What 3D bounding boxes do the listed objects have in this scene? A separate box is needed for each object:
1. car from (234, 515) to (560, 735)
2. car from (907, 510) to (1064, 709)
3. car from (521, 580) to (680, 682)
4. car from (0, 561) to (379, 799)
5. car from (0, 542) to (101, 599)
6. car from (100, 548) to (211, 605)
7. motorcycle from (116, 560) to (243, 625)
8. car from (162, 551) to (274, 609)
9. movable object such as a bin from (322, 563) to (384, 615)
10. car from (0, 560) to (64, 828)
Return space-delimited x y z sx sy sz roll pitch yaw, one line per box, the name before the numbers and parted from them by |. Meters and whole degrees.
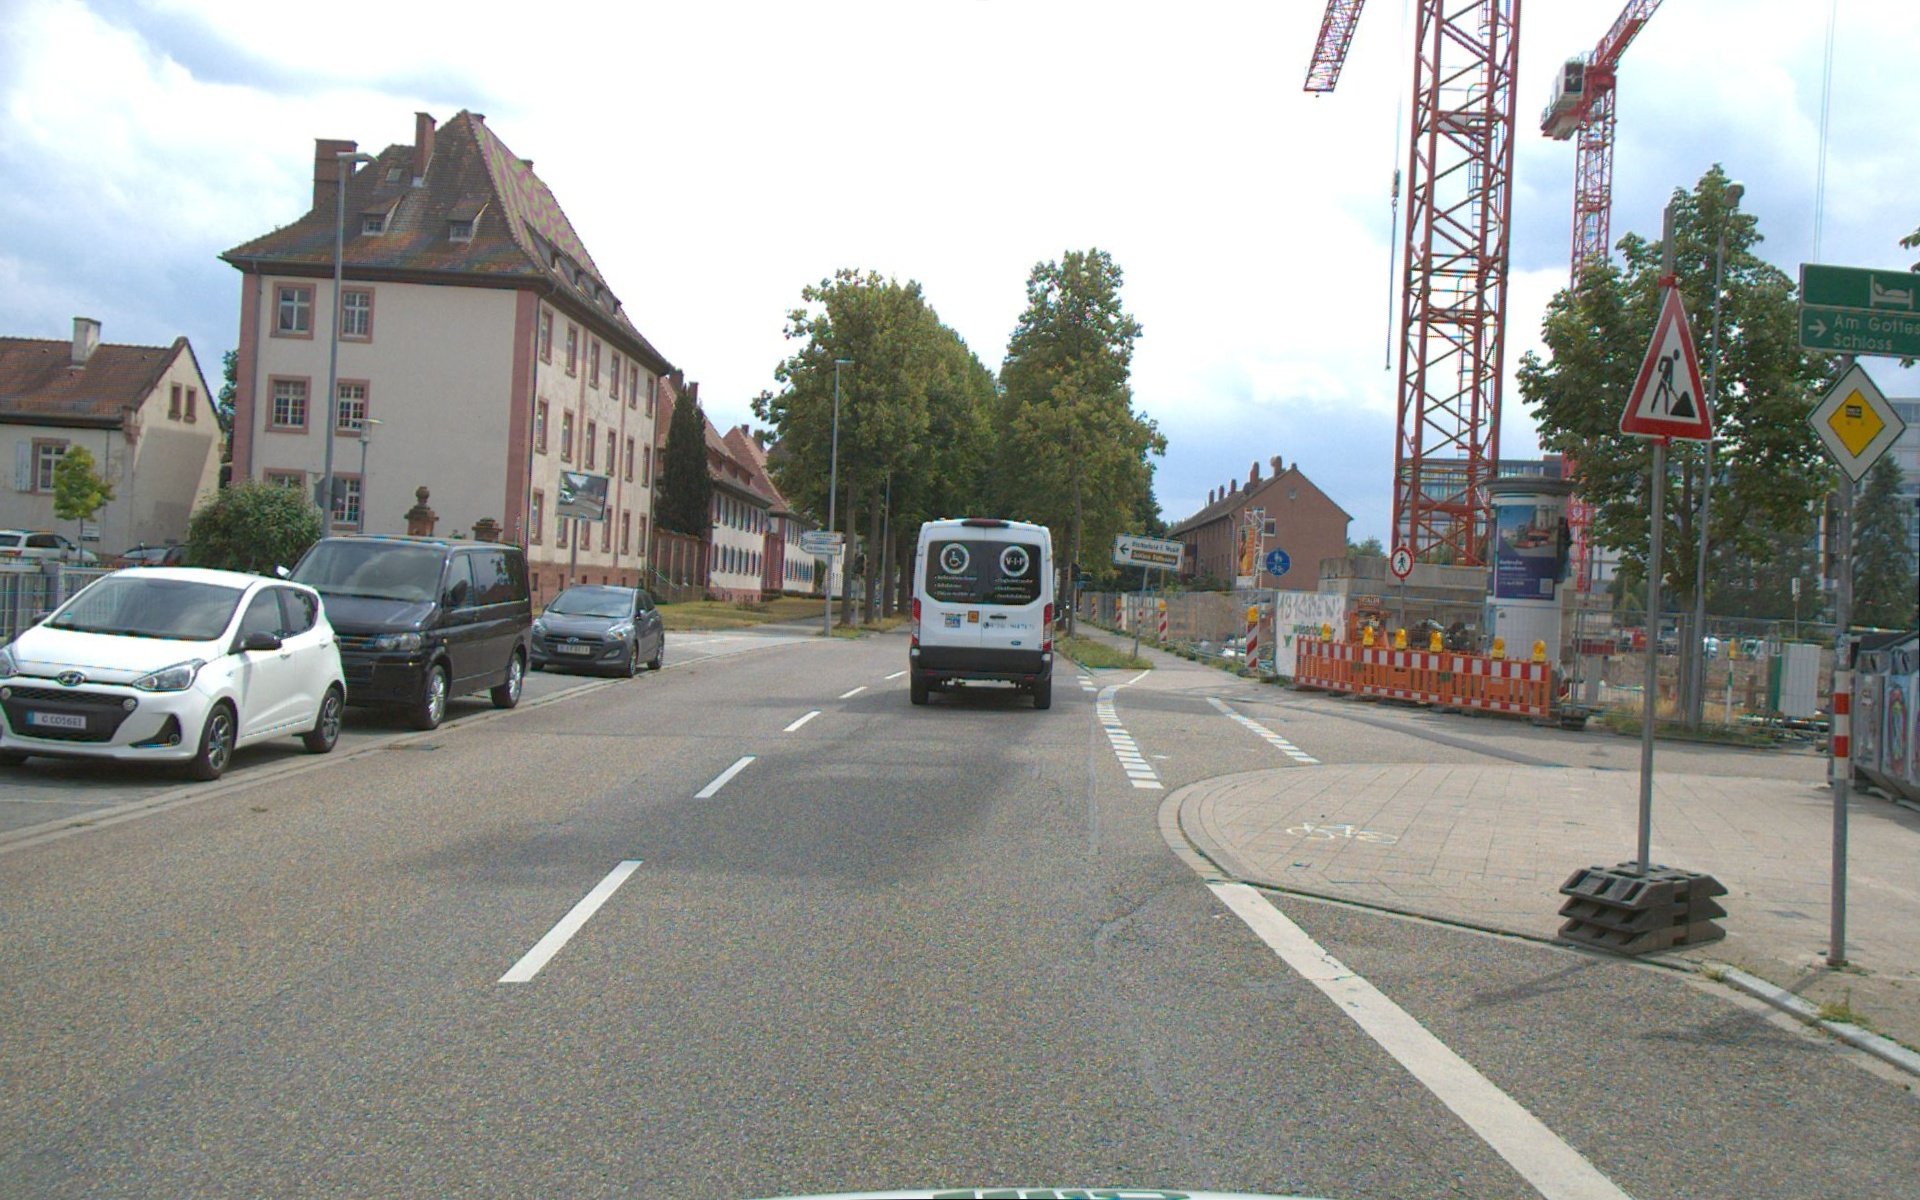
car | -6.178 0.248 18.866 1.909 2.039 4.843 4 0 0
car | 0.277 0.149 23.943 2.021 2.584 3.998 1 -1 -2
car | -6.203 0.498 29.018 1.786 1.498 4.296 5 0 -1
car | -6.209 0.548 13.440 1.620 1.556 3.764 4 0 -1
car | -30.766 -1.017 55.200 1.730 1.740 4.292 3 2 2
car | -26.812 -0.829 55.272 1.730 1.740 3.698 3 2 2
motorcycle | -14.720 -0.143 31.208 2.046 1.162 0.725 1 -1 5
car | -24.462 -0.696 54.675 1.730 1.740 3.960 3 2 2
movable object such as a bin | -18.530 -0.313 50.507 1.176 1.493 1.571 3 -1 2
car | -6.084 0.482 7.559 1.653 1.482 4.262 3 0 -1
